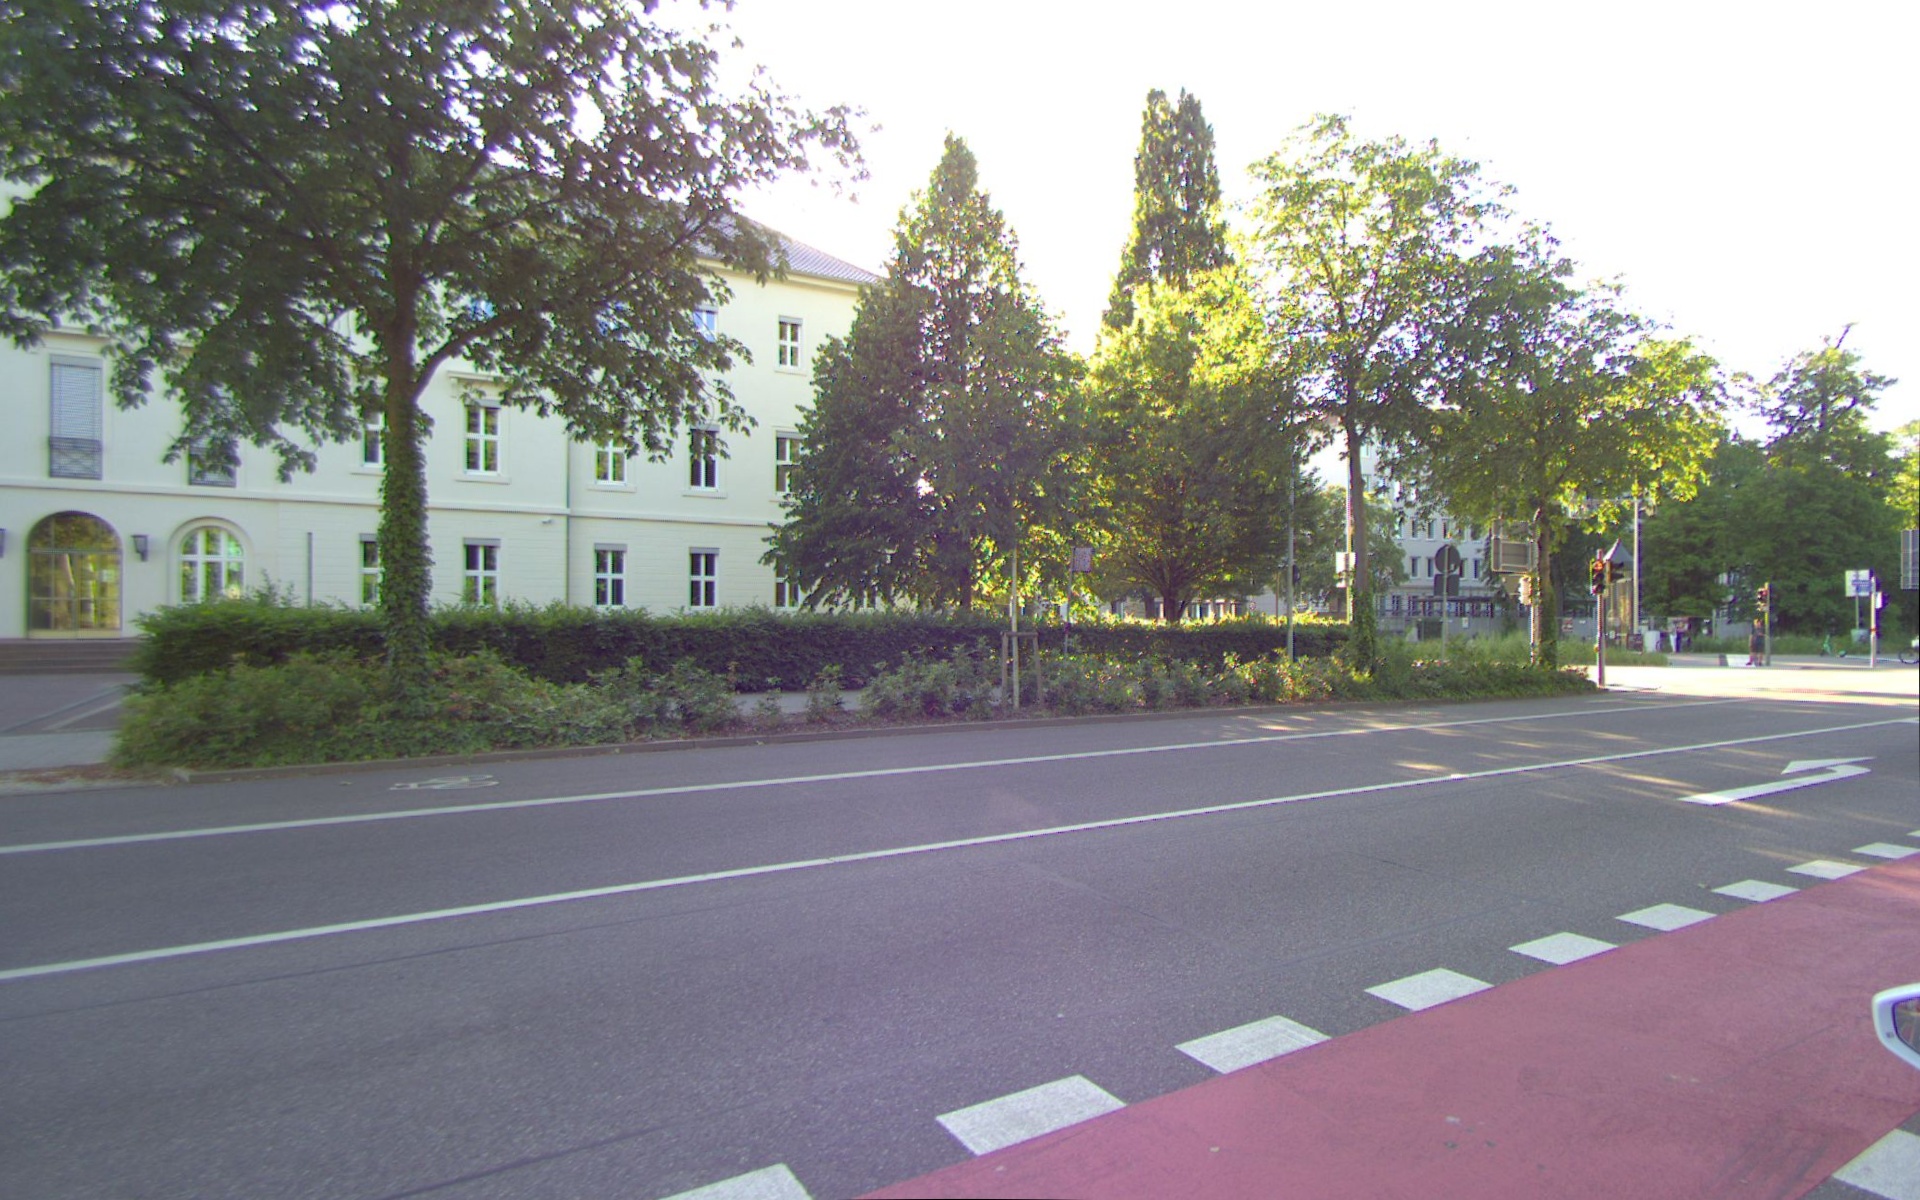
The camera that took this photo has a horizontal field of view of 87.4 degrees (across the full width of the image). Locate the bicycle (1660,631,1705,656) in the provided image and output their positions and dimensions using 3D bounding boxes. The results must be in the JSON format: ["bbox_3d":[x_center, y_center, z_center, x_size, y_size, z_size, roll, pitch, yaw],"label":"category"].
[{"bbox_3d":[36.588,2.182,50.905,0.288,1.163,1.849,1,0,-36],"label":"bicycle"}]

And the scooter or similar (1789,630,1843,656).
[{"bbox_3d":[40.339,2.024,47.339,1.882,1.139,0.713,1,0,3],"label":"scooter or similar"}]

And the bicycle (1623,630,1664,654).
[{"bbox_3d":[35.852,2.186,52.712,0.436,1.163,1.858,1,0,-21],"label":"bicycle"}]

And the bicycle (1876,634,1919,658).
[{"bbox_3d":[40.849,1.966,42.740,2.668,1.002,0.580,-1,-2,32],"label":"bicycle"}]

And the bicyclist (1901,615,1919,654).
[{"bbox_3d":[40.845,1.475,42.751,0.961,1.627,0.876,-1,-2,32],"label":"bicyclist"}]

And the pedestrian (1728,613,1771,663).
[{"bbox_3d":[33.501,1.607,42.628,1.175,2.040,0.992,1,0,-25],"label":"pedestrian"}]
